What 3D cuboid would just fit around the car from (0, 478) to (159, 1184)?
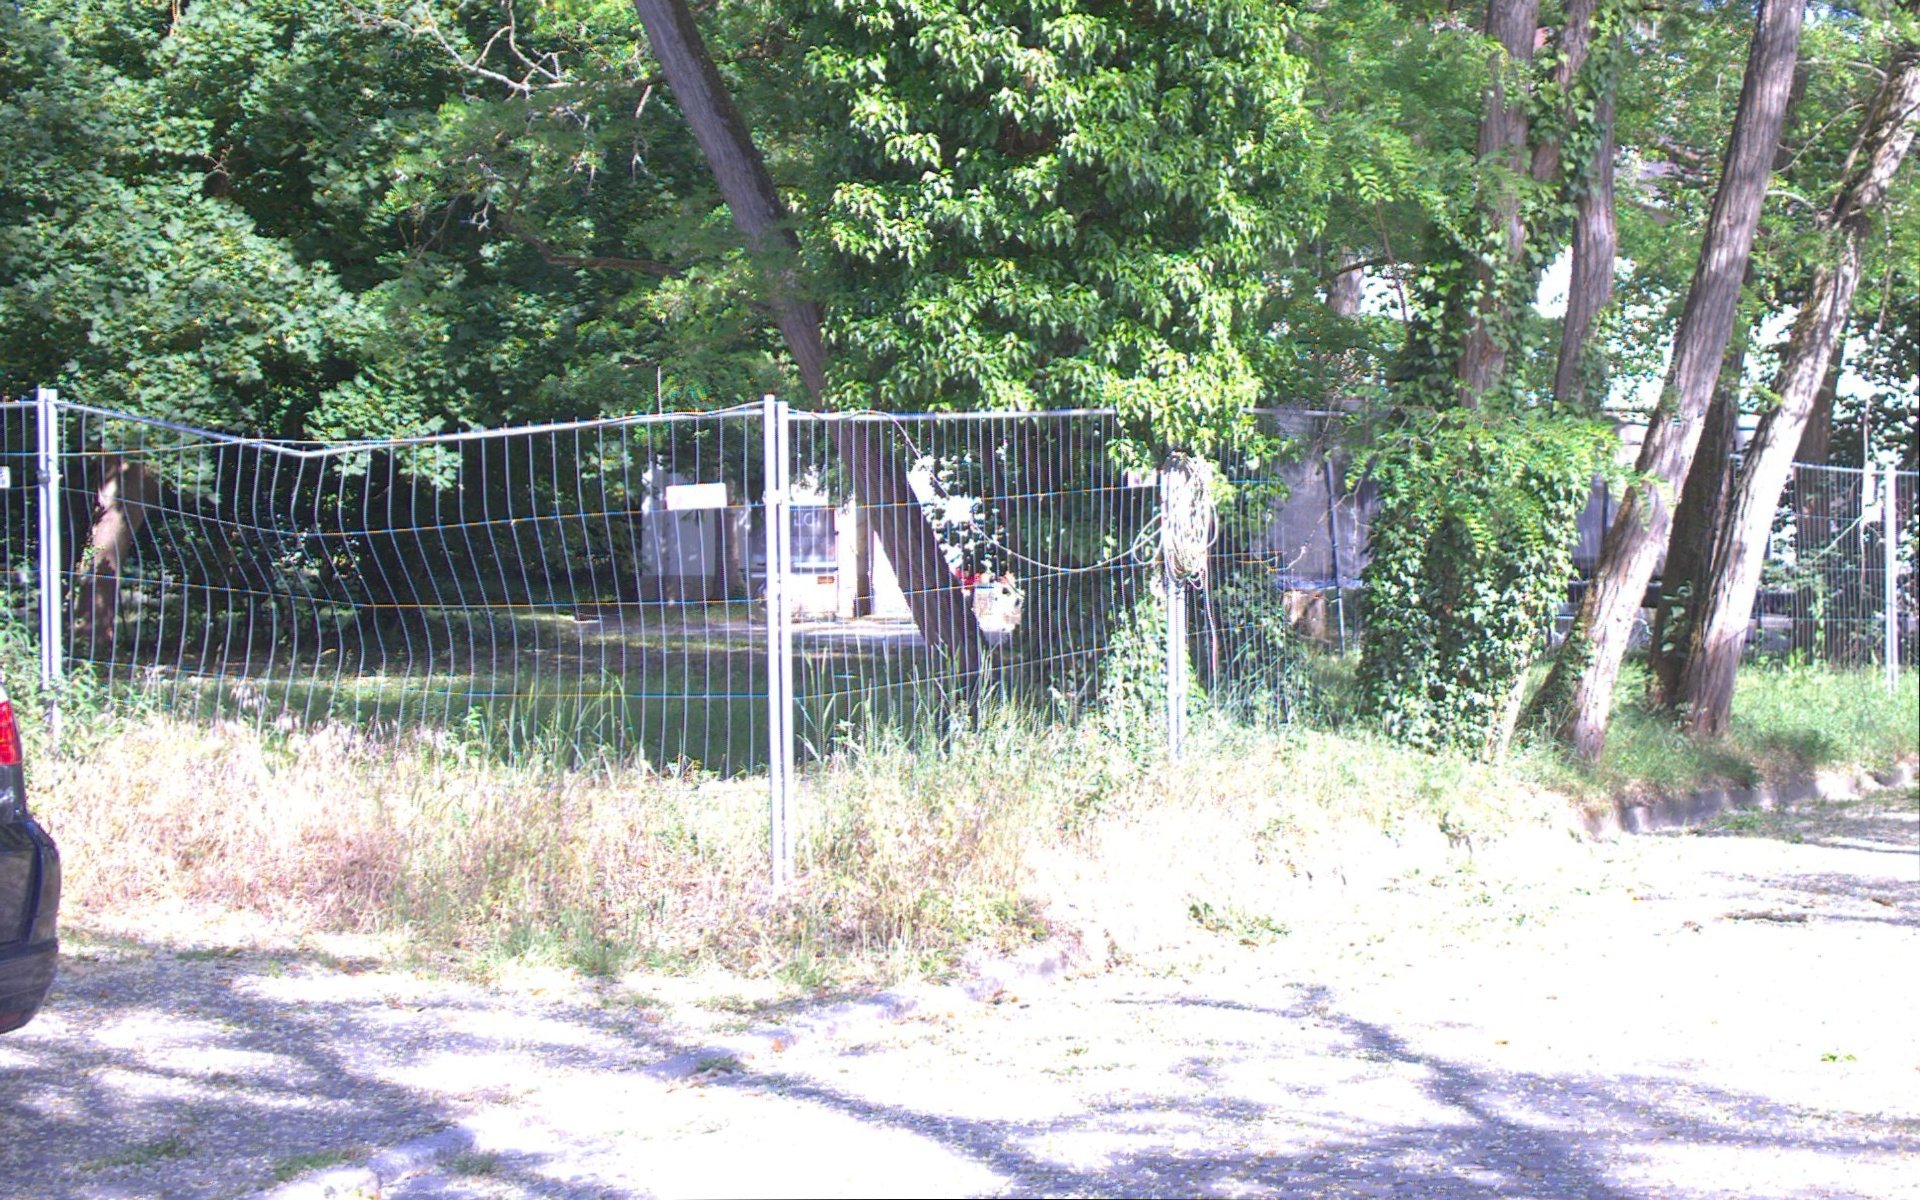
[{"bbox_3d":[-4.334,0.447,8.519,4.291,1.646,1.791,3,2,22],"label":"car"}]
